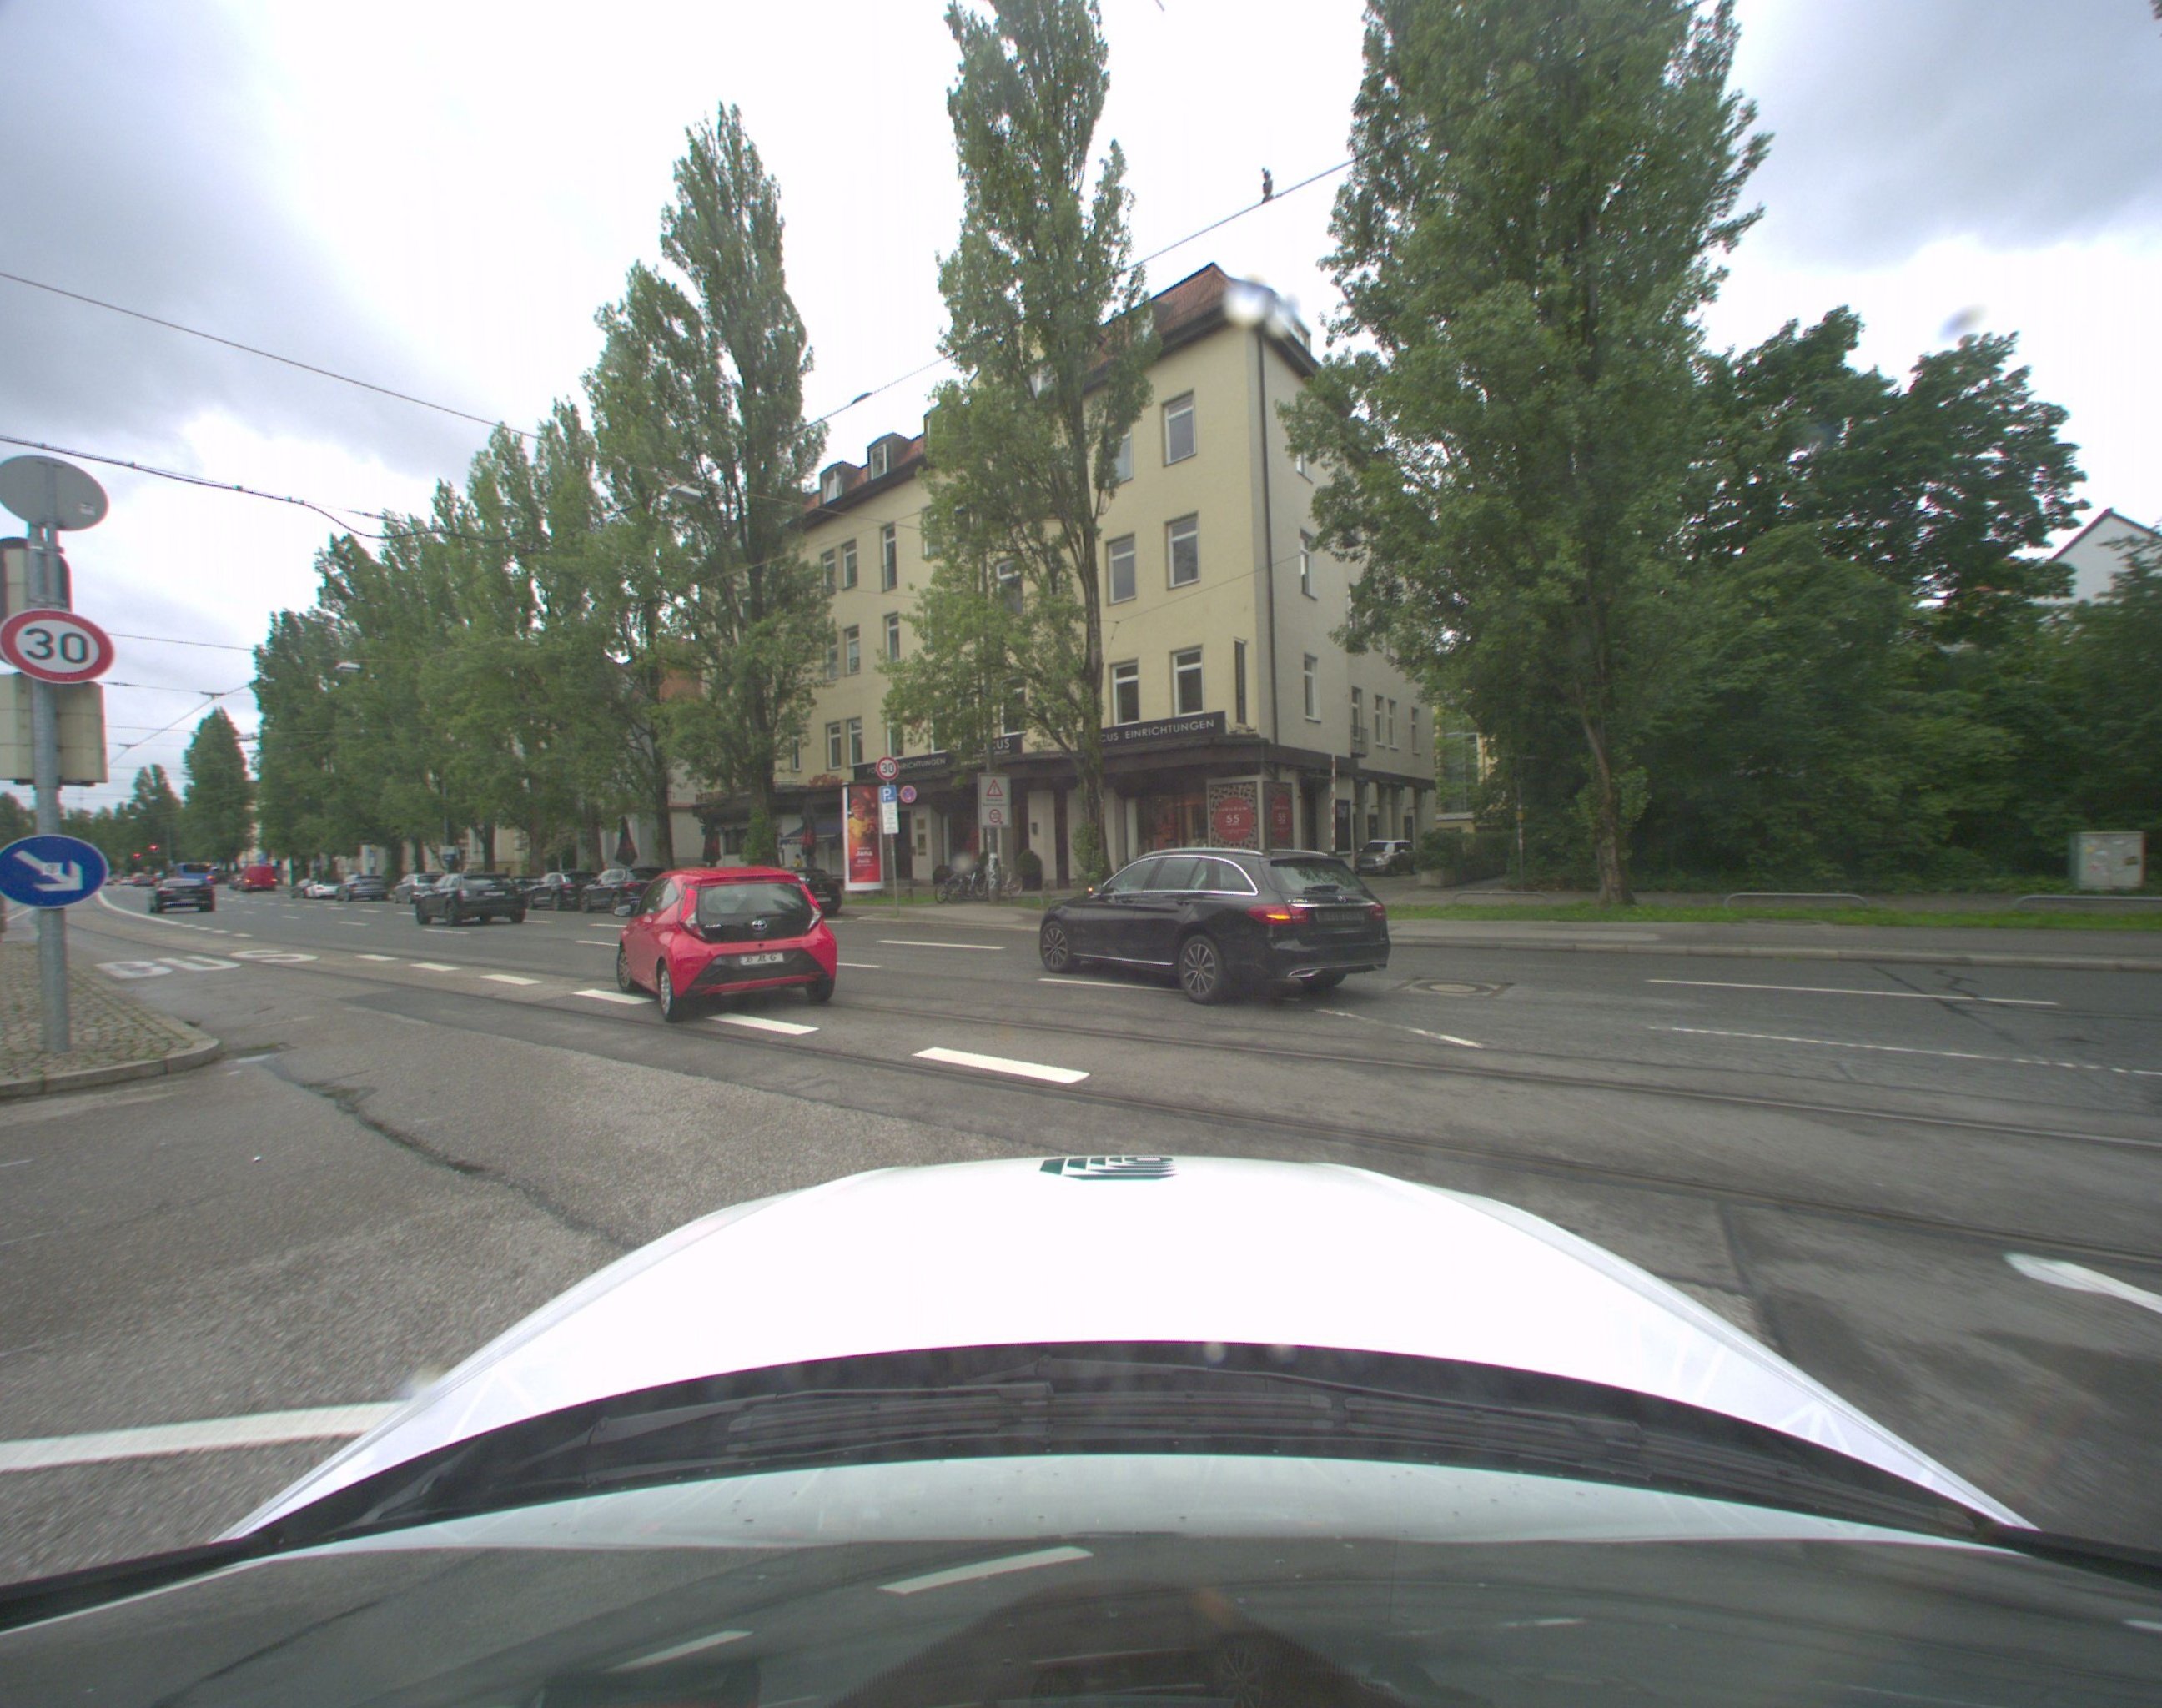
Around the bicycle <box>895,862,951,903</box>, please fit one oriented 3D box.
[{"bbox_3d":[-5.065,0.900,26.202,0.490,1.185,1.901,-2,0,35],"label":"bicycle"}]

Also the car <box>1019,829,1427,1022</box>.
[{"bbox_3d":[1.223,0.567,9.146,1.876,1.549,4.656,-2,1,-32],"label":"car"}]

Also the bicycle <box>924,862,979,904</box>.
[{"bbox_3d":[-4.008,0.883,25.373,0.490,1.185,1.901,-2,0,35],"label":"bicycle"}]

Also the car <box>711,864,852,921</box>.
[{"bbox_3d":[-8.669,1.075,23.490,3.948,1.466,1.817,-2,0,34],"label":"car"}]

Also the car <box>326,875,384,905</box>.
[{"bbox_3d":[-45.948,2.252,51.540,4.639,1.742,1.817,-2,0,37],"label":"car"}]

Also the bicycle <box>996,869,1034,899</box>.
[{"bbox_3d":[-2.109,0.952,26.077,0.384,0.883,1.380,-2,0,35],"label":"bicycle"}]

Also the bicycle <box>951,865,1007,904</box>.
[{"bbox_3d":[-3.062,0.899,24.611,0.490,1.081,1.901,-2,0,35],"label":"bicycle"}]

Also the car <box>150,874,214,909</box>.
[{"bbox_3d":[-44.118,1.827,39.949,4.517,1.549,1.753,-2,1,38],"label":"car"}]

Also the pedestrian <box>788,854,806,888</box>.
[{"bbox_3d":[-13.235,0.793,37.952,0.489,1.562,0.578,0,1,38],"label":"pedestrian"}]

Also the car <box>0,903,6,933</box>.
[{"bbox_3d":[-57.626,3.381,42.435,4.298,1.522,1.817,-2,1,38],"label":"car"}]

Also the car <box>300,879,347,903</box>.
[{"bbox_3d":[-53.754,2.609,57.766,3.948,1.508,1.817,-2,0,38],"label":"car"}]

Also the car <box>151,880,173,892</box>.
[{"bbox_3d":[-125.781,4.363,111.443,3.948,1.486,1.798,-2,0,38],"label":"car"}]

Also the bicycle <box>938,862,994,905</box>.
[{"bbox_3d":[-3.506,0.889,24.887,0.490,1.185,1.901,-2,0,35],"label":"bicycle"}]

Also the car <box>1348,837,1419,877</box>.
[{"bbox_3d":[12.228,0.076,32.812,1.708,1.442,4.026,-2,1,34],"label":"car"}]

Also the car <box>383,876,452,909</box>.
[{"bbox_3d":[-35.553,2.032,43.615,4.488,1.612,1.817,-2,1,37],"label":"car"}]

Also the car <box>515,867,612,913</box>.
[{"bbox_3d":[-20.473,1.405,32.140,4.249,1.612,1.817,-2,1,37],"label":"car"}]

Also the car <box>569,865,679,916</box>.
[{"bbox_3d":[-16.231,1.254,28.832,4.412,1.612,1.738,-2,0,37],"label":"car"}]

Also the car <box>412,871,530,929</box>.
[{"bbox_3d":[-18.008,1.318,23.982,3.948,1.486,1.798,-2,0,38],"label":"car"}]

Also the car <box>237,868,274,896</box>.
[{"bbox_3d":[-80.515,2.681,79.435,4.619,2.574,2.013,0,1,38],"label":"car"}]

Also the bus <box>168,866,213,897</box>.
[{"bbox_3d":[-110.510,3.285,101.000,10.666,3.396,2.934,0,1,38],"label":"bus"}]

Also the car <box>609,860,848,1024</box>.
[{"bbox_3d":[-4.066,0.828,9.120,1.642,1.440,3.338,-1,-1,-38],"label":"car"}]
